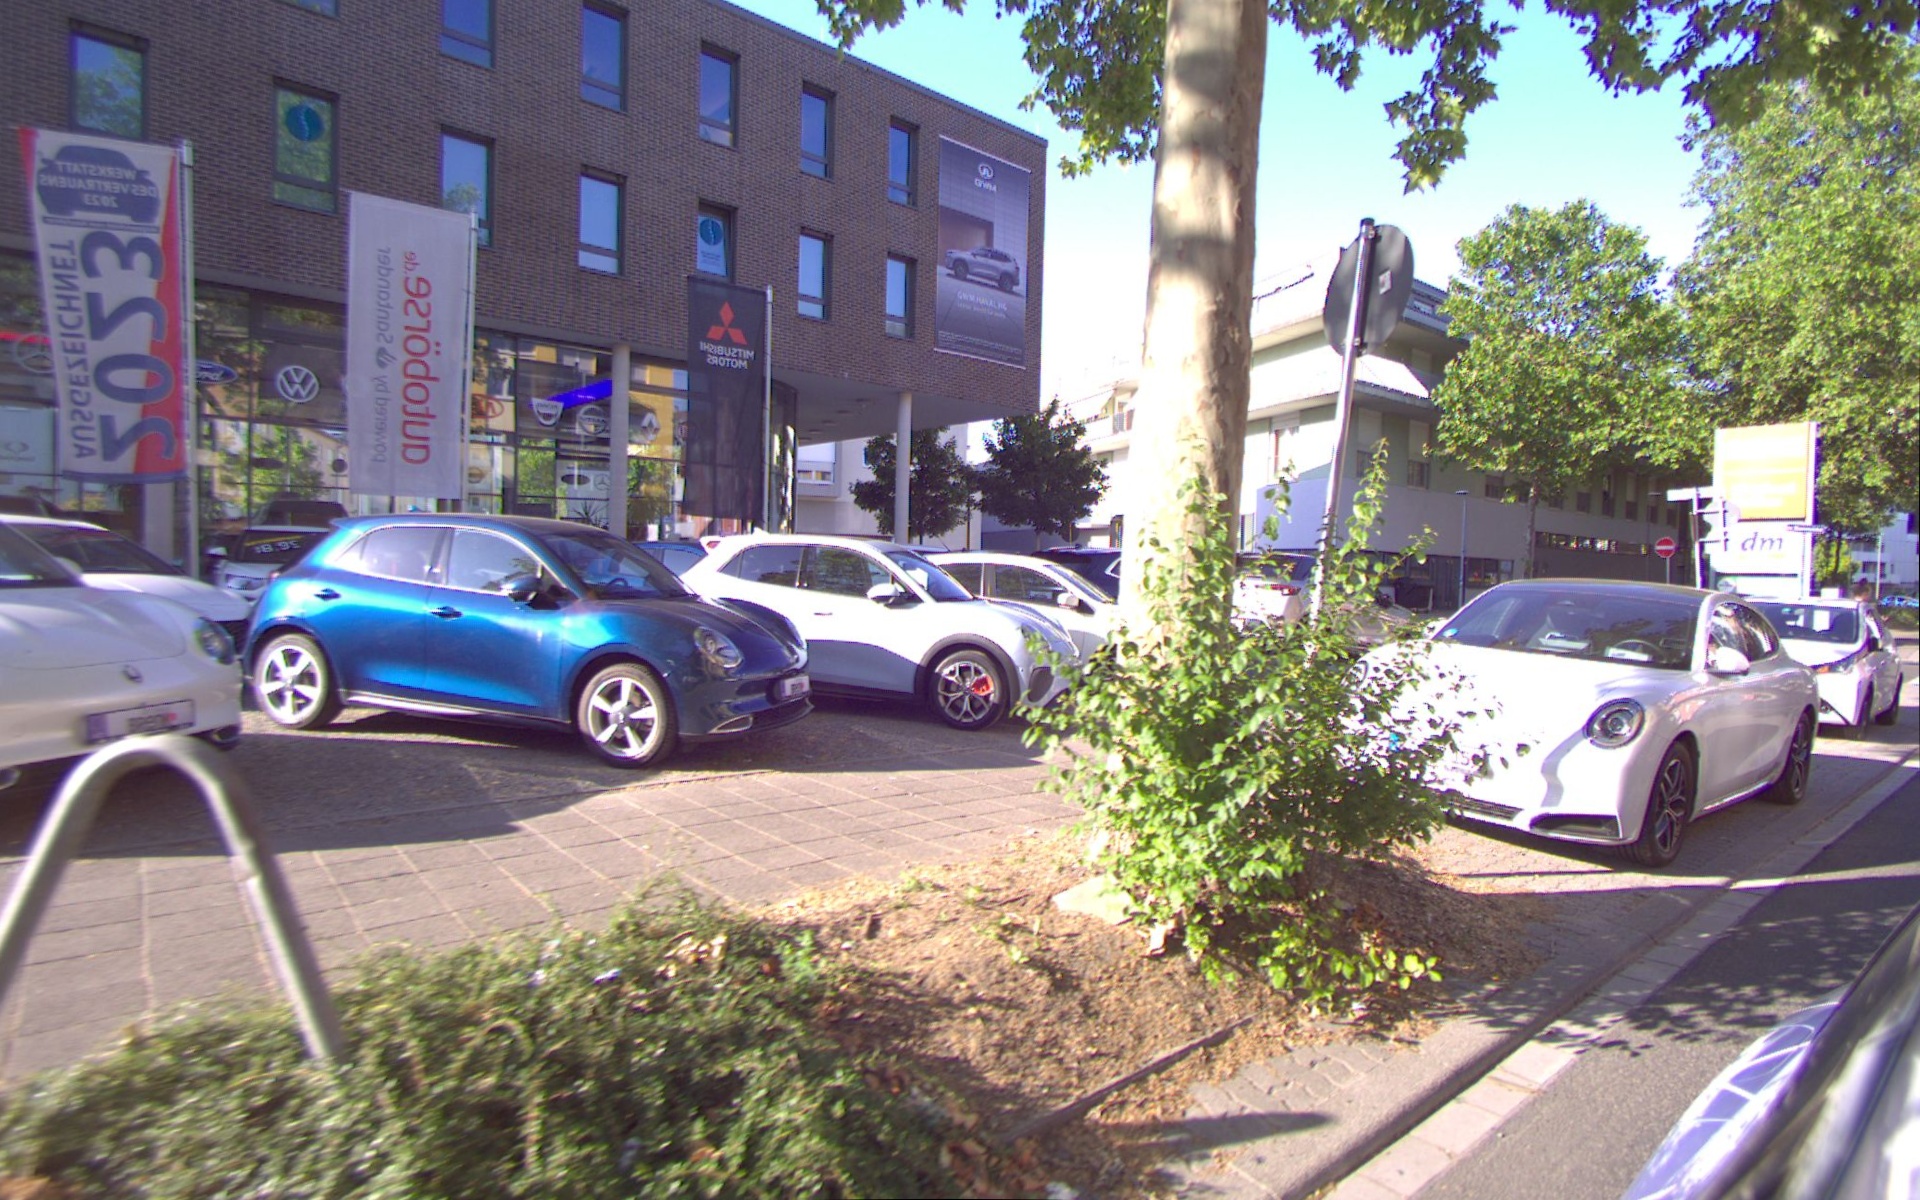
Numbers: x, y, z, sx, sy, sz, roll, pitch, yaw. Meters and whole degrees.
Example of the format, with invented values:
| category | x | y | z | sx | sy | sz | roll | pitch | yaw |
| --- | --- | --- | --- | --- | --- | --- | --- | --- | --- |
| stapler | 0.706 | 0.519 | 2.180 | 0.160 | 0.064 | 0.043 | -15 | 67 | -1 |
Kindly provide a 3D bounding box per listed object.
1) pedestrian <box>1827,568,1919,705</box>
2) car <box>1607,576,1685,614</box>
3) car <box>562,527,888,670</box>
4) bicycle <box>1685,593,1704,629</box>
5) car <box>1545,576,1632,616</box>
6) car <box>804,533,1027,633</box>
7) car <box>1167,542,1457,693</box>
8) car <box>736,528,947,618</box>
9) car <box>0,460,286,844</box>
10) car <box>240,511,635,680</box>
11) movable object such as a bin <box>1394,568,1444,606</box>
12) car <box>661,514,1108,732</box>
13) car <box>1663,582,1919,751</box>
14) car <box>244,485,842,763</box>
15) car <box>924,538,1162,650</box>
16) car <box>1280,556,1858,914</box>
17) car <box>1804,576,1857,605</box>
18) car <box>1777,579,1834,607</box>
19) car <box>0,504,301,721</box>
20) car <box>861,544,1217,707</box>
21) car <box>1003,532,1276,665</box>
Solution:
| category | x | y | z | sx | sy | sz | roll | pitch | yaw |
| --- | --- | --- | --- | --- | --- | --- | --- | --- | --- |
| pedestrian | 12.177 | 0.465 | 13.399 | 0.709 | 1.744 | 0.693 | 2 | 2 | 5 |
| car | 30.745 | -0.233 | 45.309 | 3.692 | 1.572 | 1.864 | 0 | 3 | -39 |
| car | -2.995 | -0.075 | 13.074 | 3.766 | 1.529 | 1.636 | 3 | 2 | 16 |
| bicycle | 21.967 | 0.320 | 30.279 | 0.381 | 1.016 | 1.468 | 3 | 2 | 34 |
| car | 25.495 | -0.176 | 40.994 | 4.052 | 1.486 | 1.863 | 0 | 3 | -41 |
| car | -0.804 | -0.348 | 19.867 | 4.109 | 1.755 | 1.879 | 0 | 3 | -42 |
| car | 4.743 | 0.156 | 13.374 | 4.084 | 1.690 | 1.756 | 0 | 3 | -40 |
| car | -2.514 | -0.582 | 21.891 | 4.105 | 1.755 | 1.991 | 0 | 2 | -39 |
| car | -5.726 | 0.106 | 5.095 | 3.760 | 1.598 | 1.741 | 3 | 2 | 11 |
| car | -5.715 | -0.111 | 11.162 | 3.766 | 1.529 | 1.636 | 3 | 2 | 16 |
| movable object such as a bin | 18.688 | -0.547 | 41.207 | 1.378 | 1.481 | 1.199 | 1 | 2 | -28 |
| car | -0.650 | 0.114 | 9.452 | 3.767 | 1.629 | 1.733 | 3 | 2 | 17 |
| car | 9.559 | 0.596 | 11.479 | 3.951 | 1.485 | 1.638 | -1 | 5 | -41 |
| car | -2.958 | 0.072 | 7.454 | 3.763 | 1.598 | 1.735 | 3 | 2 | 14 |
| car | 1.519 | -0.137 | 17.483 | 4.109 | 1.705 | 1.730 | 0 | 3 | -42 |
| car | 4.268 | 0.565 | 6.774 | 4.501 | 1.557 | 1.816 | -1 | 5 | -39 |
| car | 58.108 | -0.622 | 67.546 | 4.242 | 1.792 | 1.910 | 0 | 2 | -39 |
| car | 51.356 | -0.443 | 61.439 | 4.242 | 1.561 | 1.864 | 0 | 3 | -39 |
| car | -7.779 | -0.022 | 8.540 | 3.766 | 1.529 | 1.636 | 3 | 2 | 16 |
| car | 0.935 | 0.202 | 11.541 | 3.768 | 1.564 | 1.654 | 2 | 2 | 18 |
| car | 2.837 | -0.066 | 15.448 | 4.293 | 1.753 | 1.829 | 0 | 3 | -42 |
